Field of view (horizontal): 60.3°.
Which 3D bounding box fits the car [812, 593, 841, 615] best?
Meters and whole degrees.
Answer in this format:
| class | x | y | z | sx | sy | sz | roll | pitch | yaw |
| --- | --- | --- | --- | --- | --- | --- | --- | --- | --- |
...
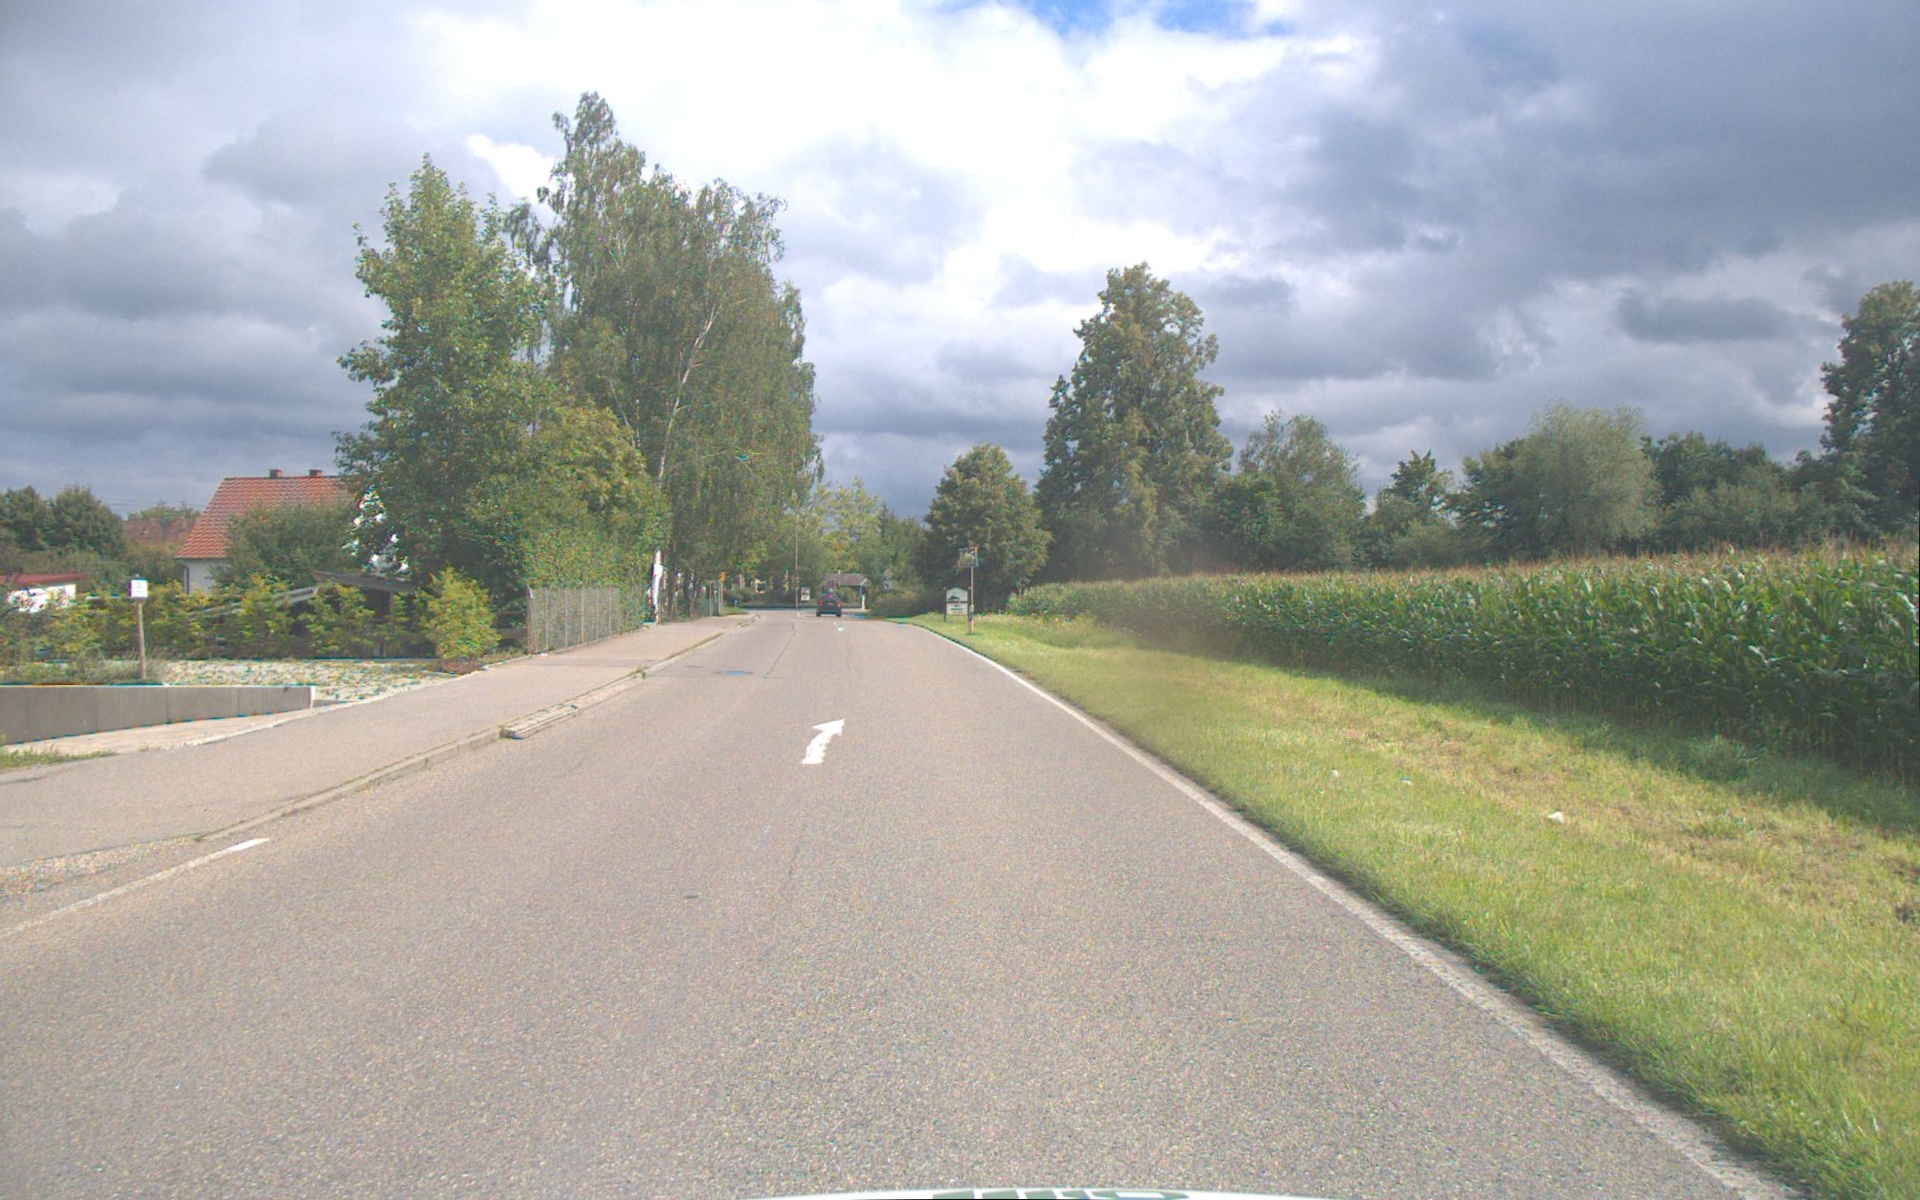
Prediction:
| class | x | y | z | sx | sy | sz | roll | pitch | yaw |
| --- | --- | --- | --- | --- | --- | --- | --- | --- | --- |
| car | -10.288 | 0.278 | 127.179 | 1.957 | 1.612 | 3.992 | 0 | 0 | -9 |
